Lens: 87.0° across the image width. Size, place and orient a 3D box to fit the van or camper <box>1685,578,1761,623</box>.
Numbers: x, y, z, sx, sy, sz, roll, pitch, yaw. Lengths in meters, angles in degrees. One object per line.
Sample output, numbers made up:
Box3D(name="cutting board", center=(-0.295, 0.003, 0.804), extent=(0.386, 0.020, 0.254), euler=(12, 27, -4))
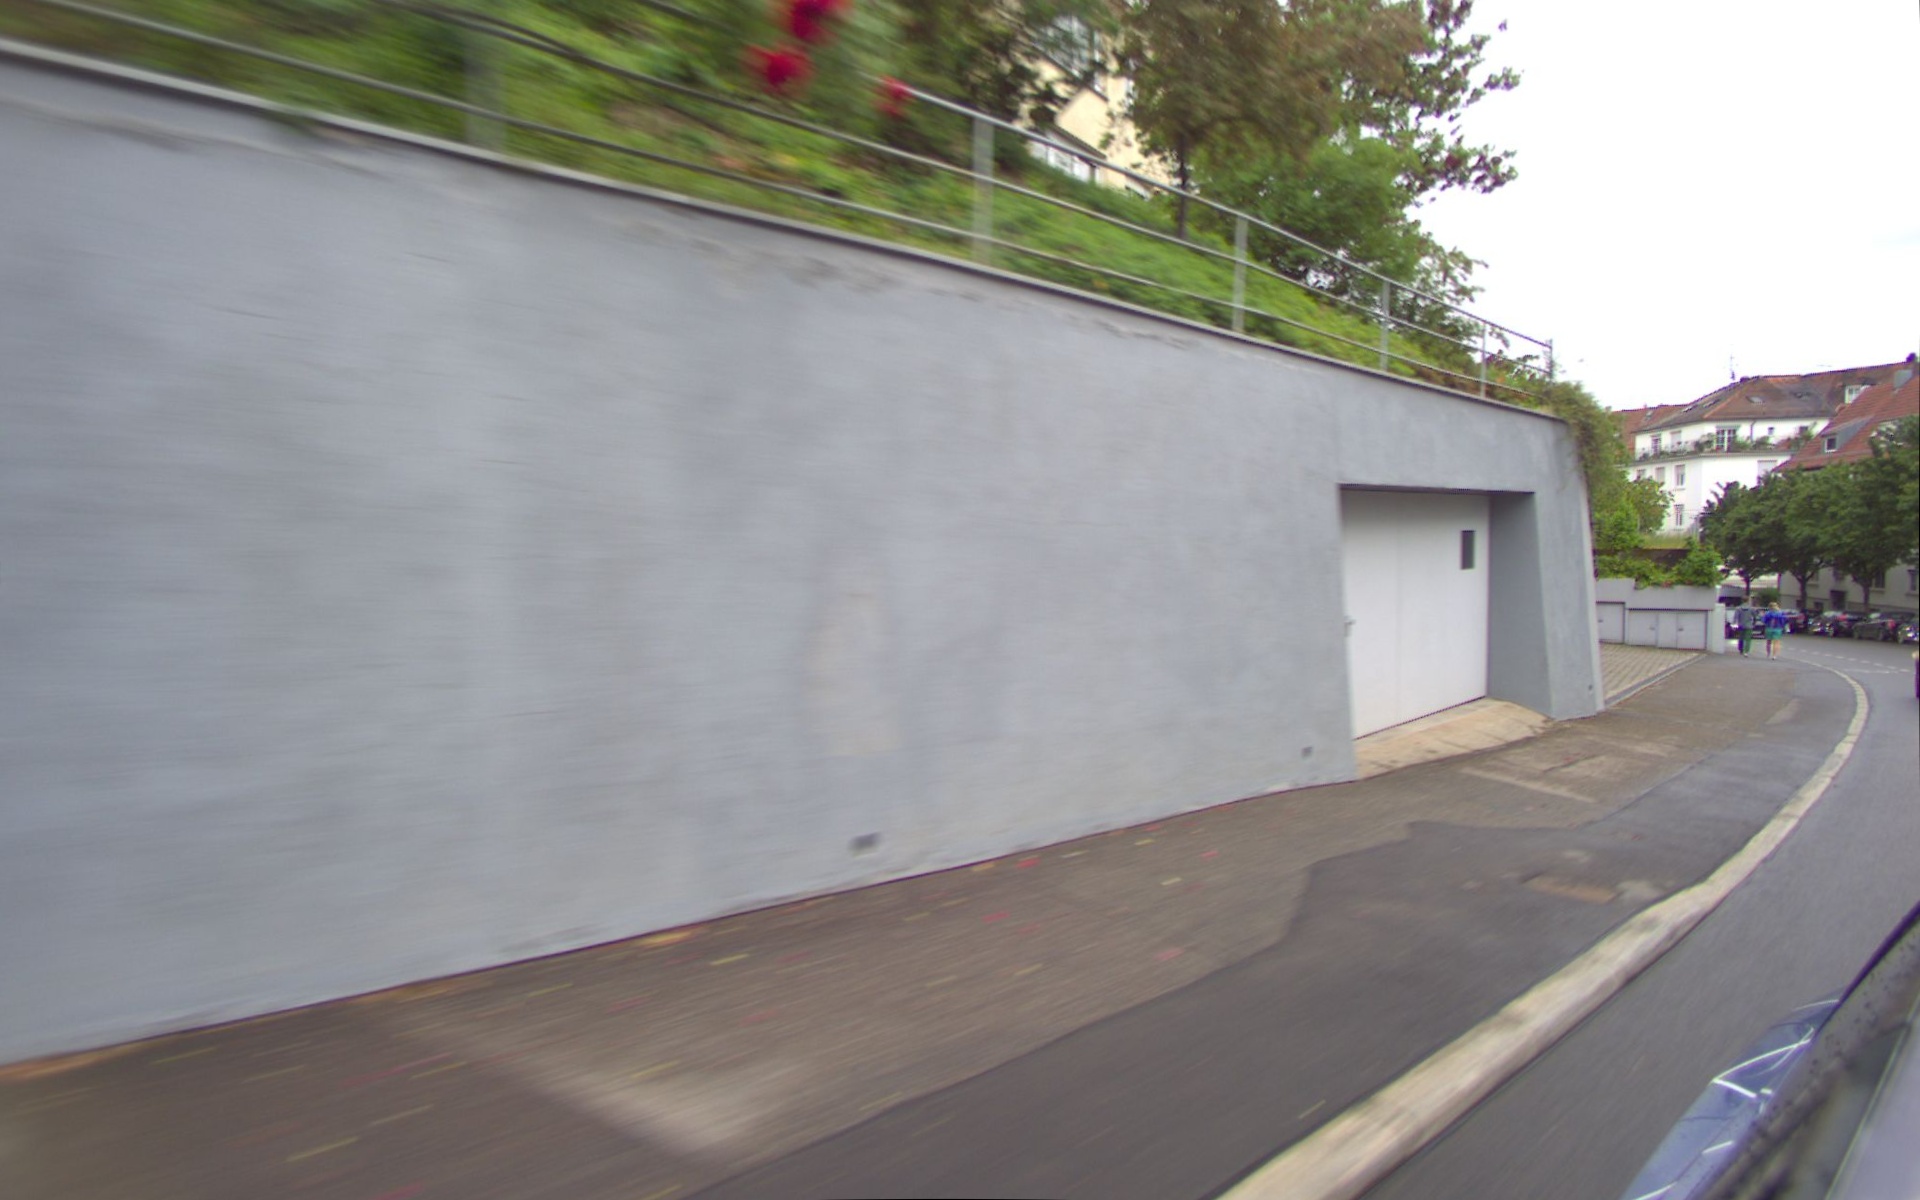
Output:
Box3D(name="van or camper", center=(52.321, 0.035, 69.567), extent=(2.043, 2.895, 5.723), euler=(1, 0, 14))

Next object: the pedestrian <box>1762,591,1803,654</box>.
Box3D(name="pedestrian", center=(24.040, 0.642, 29.582), extent=(0.773, 1.780, 0.998), euler=(4, 2, 36))

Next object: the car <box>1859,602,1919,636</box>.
Box3D(name="car", center=(44.938, 0.891, 48.293), extent=(1.773, 1.512, 4.326), euler=(1, 0, 23))

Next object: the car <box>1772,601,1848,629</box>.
Box3D(name="car", center=(48.895, 0.835, 58.333), extent=(1.770, 1.512, 4.471), euler=(2, 1, 19))

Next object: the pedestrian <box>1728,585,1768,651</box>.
Box3D(name="pedestrian", center=(23.405, 0.532, 30.066), extent=(0.774, 1.854, 1.235), euler=(4, 2, 36))

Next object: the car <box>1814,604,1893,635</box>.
Box3D(name="car", center=(47.008, 0.985, 53.346), extent=(1.773, 1.512, 4.607), euler=(0, 0, 24))

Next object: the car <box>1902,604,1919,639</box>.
Box3D(name="car", center=(42.578, 0.939, 43.584), extent=(1.777, 1.512, 4.813), euler=(1, 0, 28))

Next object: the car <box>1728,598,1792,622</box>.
Box3D(name="car", center=(50.627, 0.615, 64.160), extent=(1.567, 1.427, 4.031), euler=(1, 0, 13))
